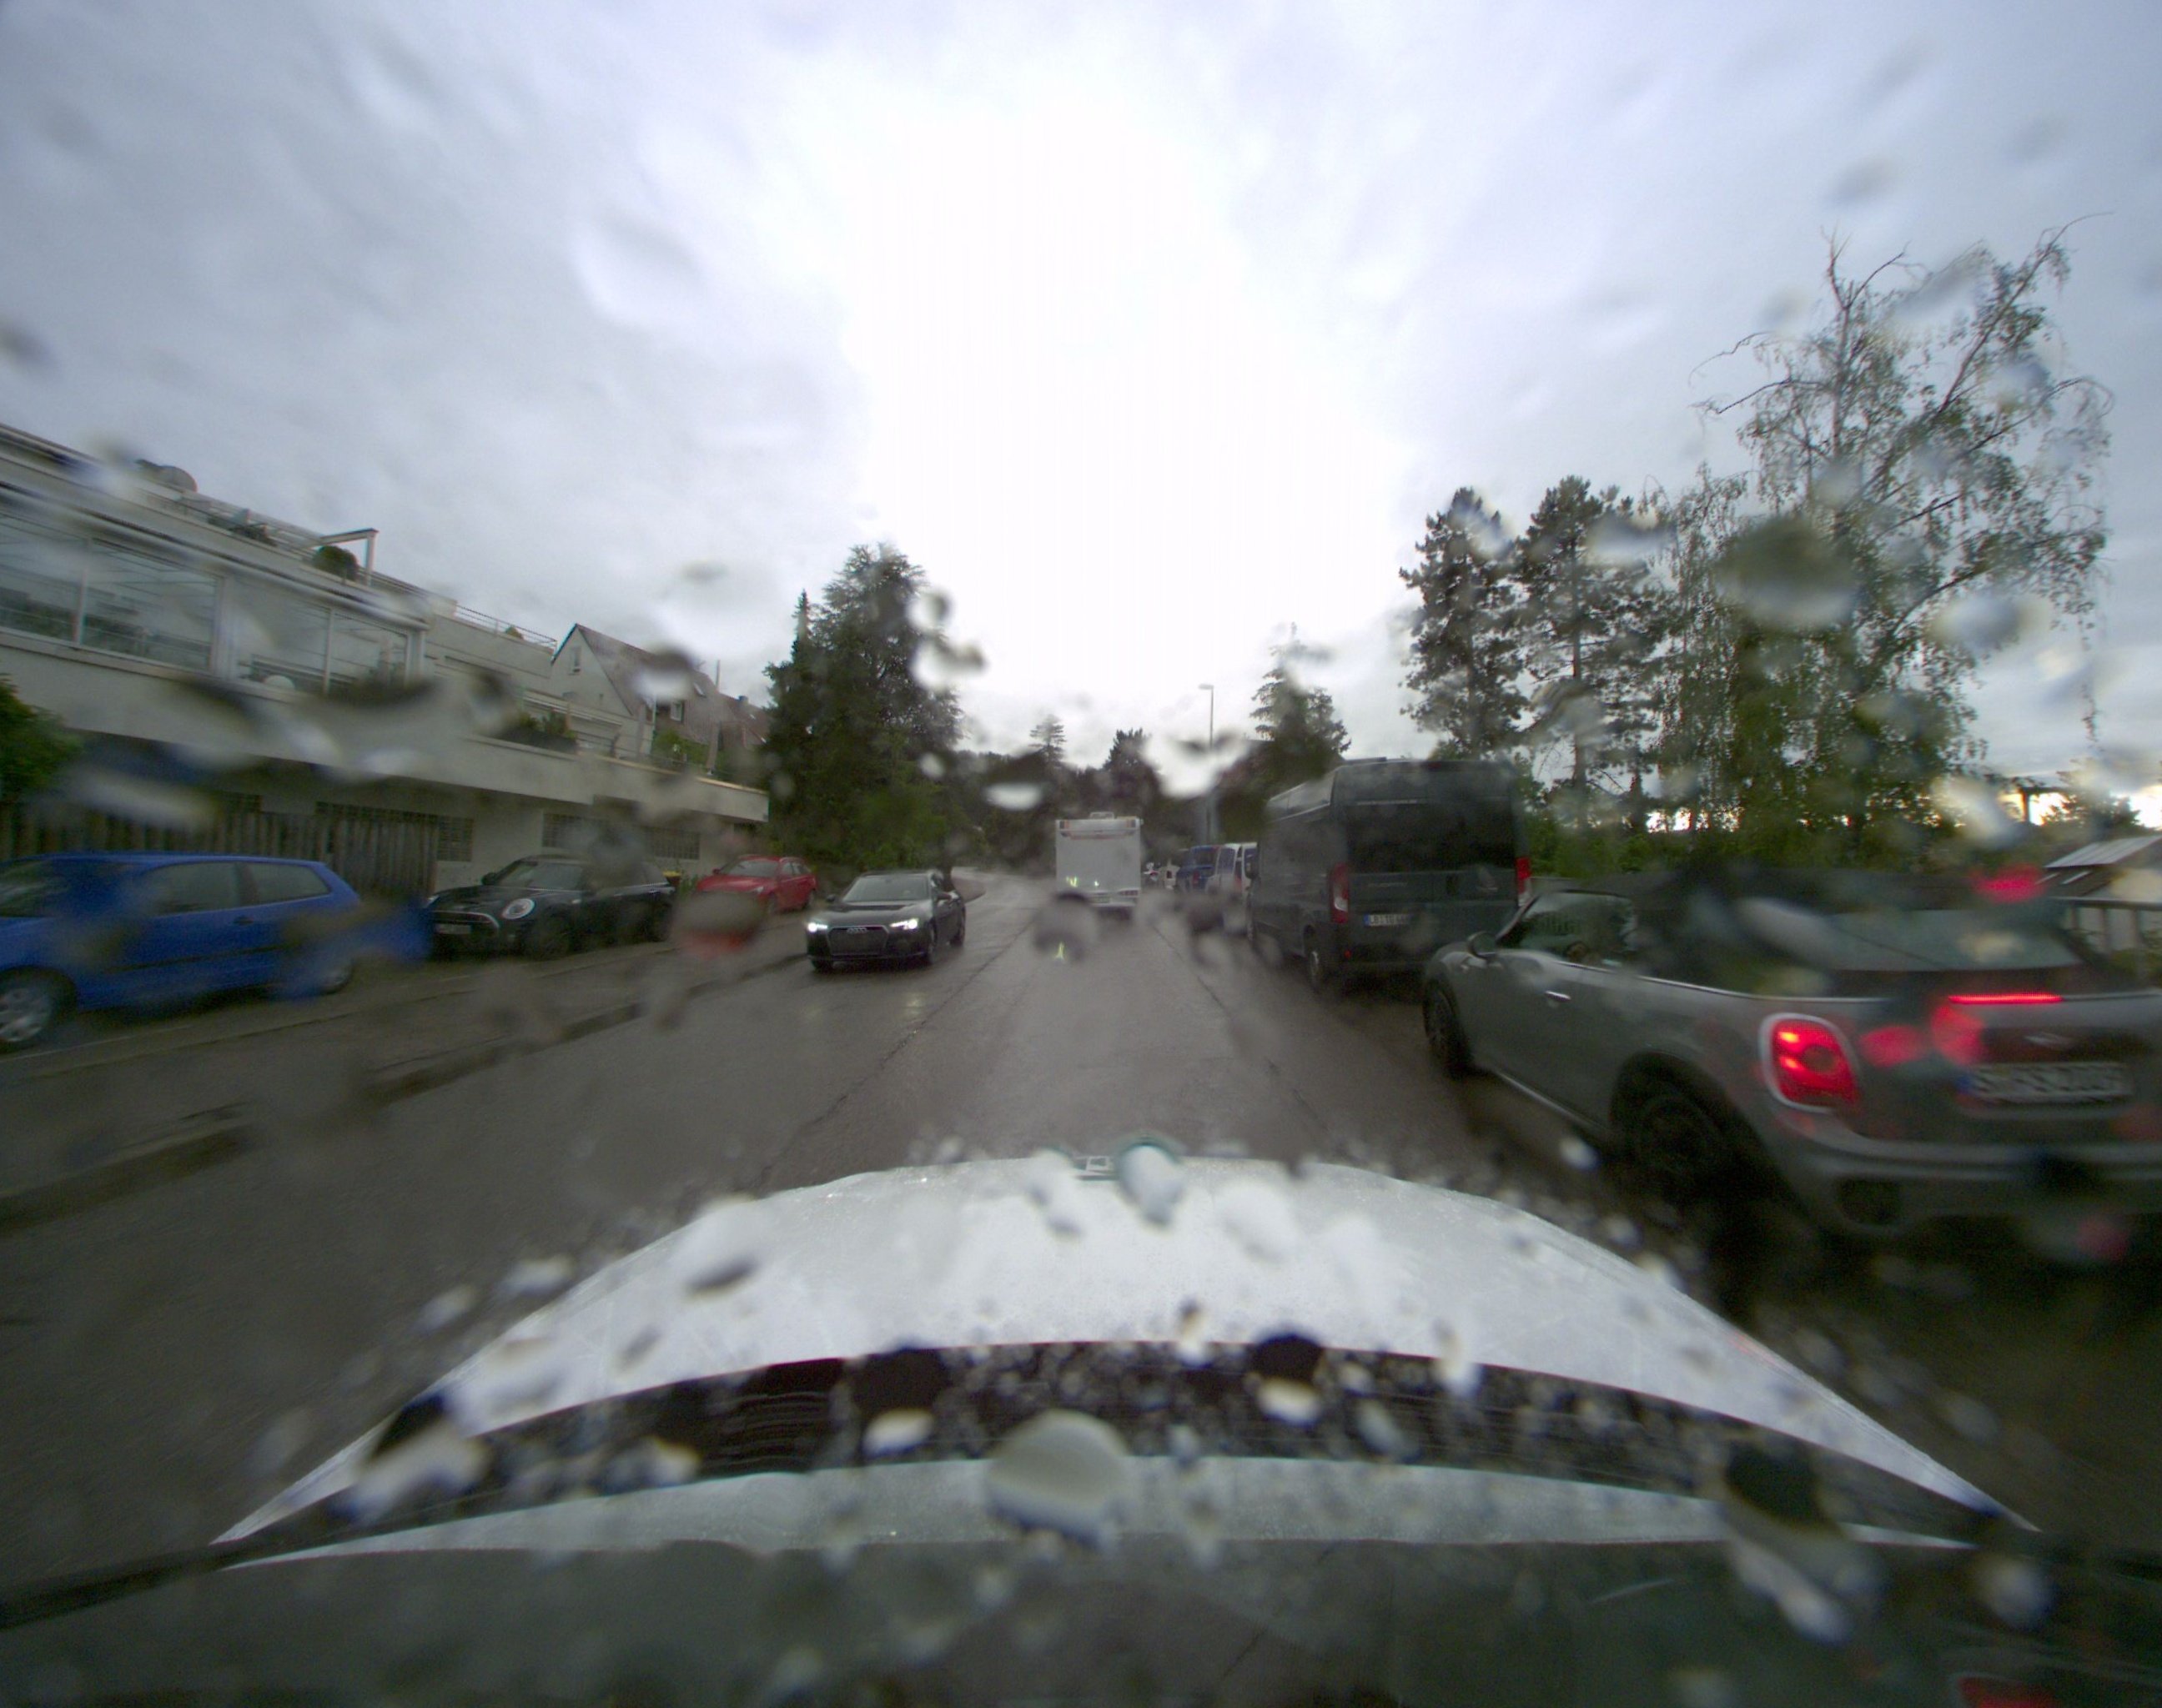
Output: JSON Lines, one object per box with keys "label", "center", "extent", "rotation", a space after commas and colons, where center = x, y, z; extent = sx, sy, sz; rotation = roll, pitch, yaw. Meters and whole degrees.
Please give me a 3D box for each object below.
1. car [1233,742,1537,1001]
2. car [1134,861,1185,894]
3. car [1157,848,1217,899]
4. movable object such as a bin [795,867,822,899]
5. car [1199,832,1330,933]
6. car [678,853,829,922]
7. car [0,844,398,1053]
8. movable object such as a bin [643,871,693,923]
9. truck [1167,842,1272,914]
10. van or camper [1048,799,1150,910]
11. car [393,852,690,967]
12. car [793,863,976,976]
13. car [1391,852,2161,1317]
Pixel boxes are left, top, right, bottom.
{"label": "car", "center": [3.546, 0.195, 11.009], "extent": [2.023, 2.505, 5.959], "rotation": [-1, -1, 2]}
{"label": "car", "center": [3.681, 1.091, 38.936], "extent": [1.683, 1.457, 4.049], "rotation": [0, 0, -6]}
{"label": "car", "center": [4.194, 0.745, 33.065], "extent": [1.854, 1.921, 5.079], "rotation": [0, 0, 1]}
{"label": "movable object such as a bin", "center": [-9.070, 0.955, 27.130], "extent": [0.573, 1.056, 0.685], "rotation": [1, -1, 13]}
{"label": "car", "center": [3.824, 0.553, 17.894], "extent": [1.820, 1.842, 5.272], "rotation": [-2, -1, 2]}
{"label": "car", "center": [-8.142, 0.778, 20.777], "extent": [1.767, 1.437, 4.589], "rotation": [4, 0, 2]}
{"label": "car", "center": [-8.524, 0.671, 7.149], "extent": [1.602, 1.434, 3.959], "rotation": [3, 0, 1]}
{"label": "movable object such as a bin", "center": [-8.923, 0.921, 17.614], "extent": [0.637, 1.084, 0.753], "rotation": [0, -1, 7]}
{"label": "truck", "center": [3.962, 0.648, 24.503], "extent": [2.106, 1.852, 6.618], "rotation": [1, 0, 1]}
{"label": "van or camper", "center": [0.642, 0.117, 24.039], "extent": [2.605, 2.853, 6.035], "rotation": [1, -2, 3]}
{"label": "car", "center": [-8.031, 0.738, 12.701], "extent": [1.627, 1.396, 4.240], "rotation": [3, 0, 2]}
{"label": "car", "center": [-3.006, 0.936, 13.479], "extent": [1.767, 1.437, 4.363], "rotation": [-3, -1, 2]}
{"label": "car", "center": [3.129, 0.738, 4.442], "extent": [1.582, 1.429, 3.800], "rotation": [-1, -1, 3]}
